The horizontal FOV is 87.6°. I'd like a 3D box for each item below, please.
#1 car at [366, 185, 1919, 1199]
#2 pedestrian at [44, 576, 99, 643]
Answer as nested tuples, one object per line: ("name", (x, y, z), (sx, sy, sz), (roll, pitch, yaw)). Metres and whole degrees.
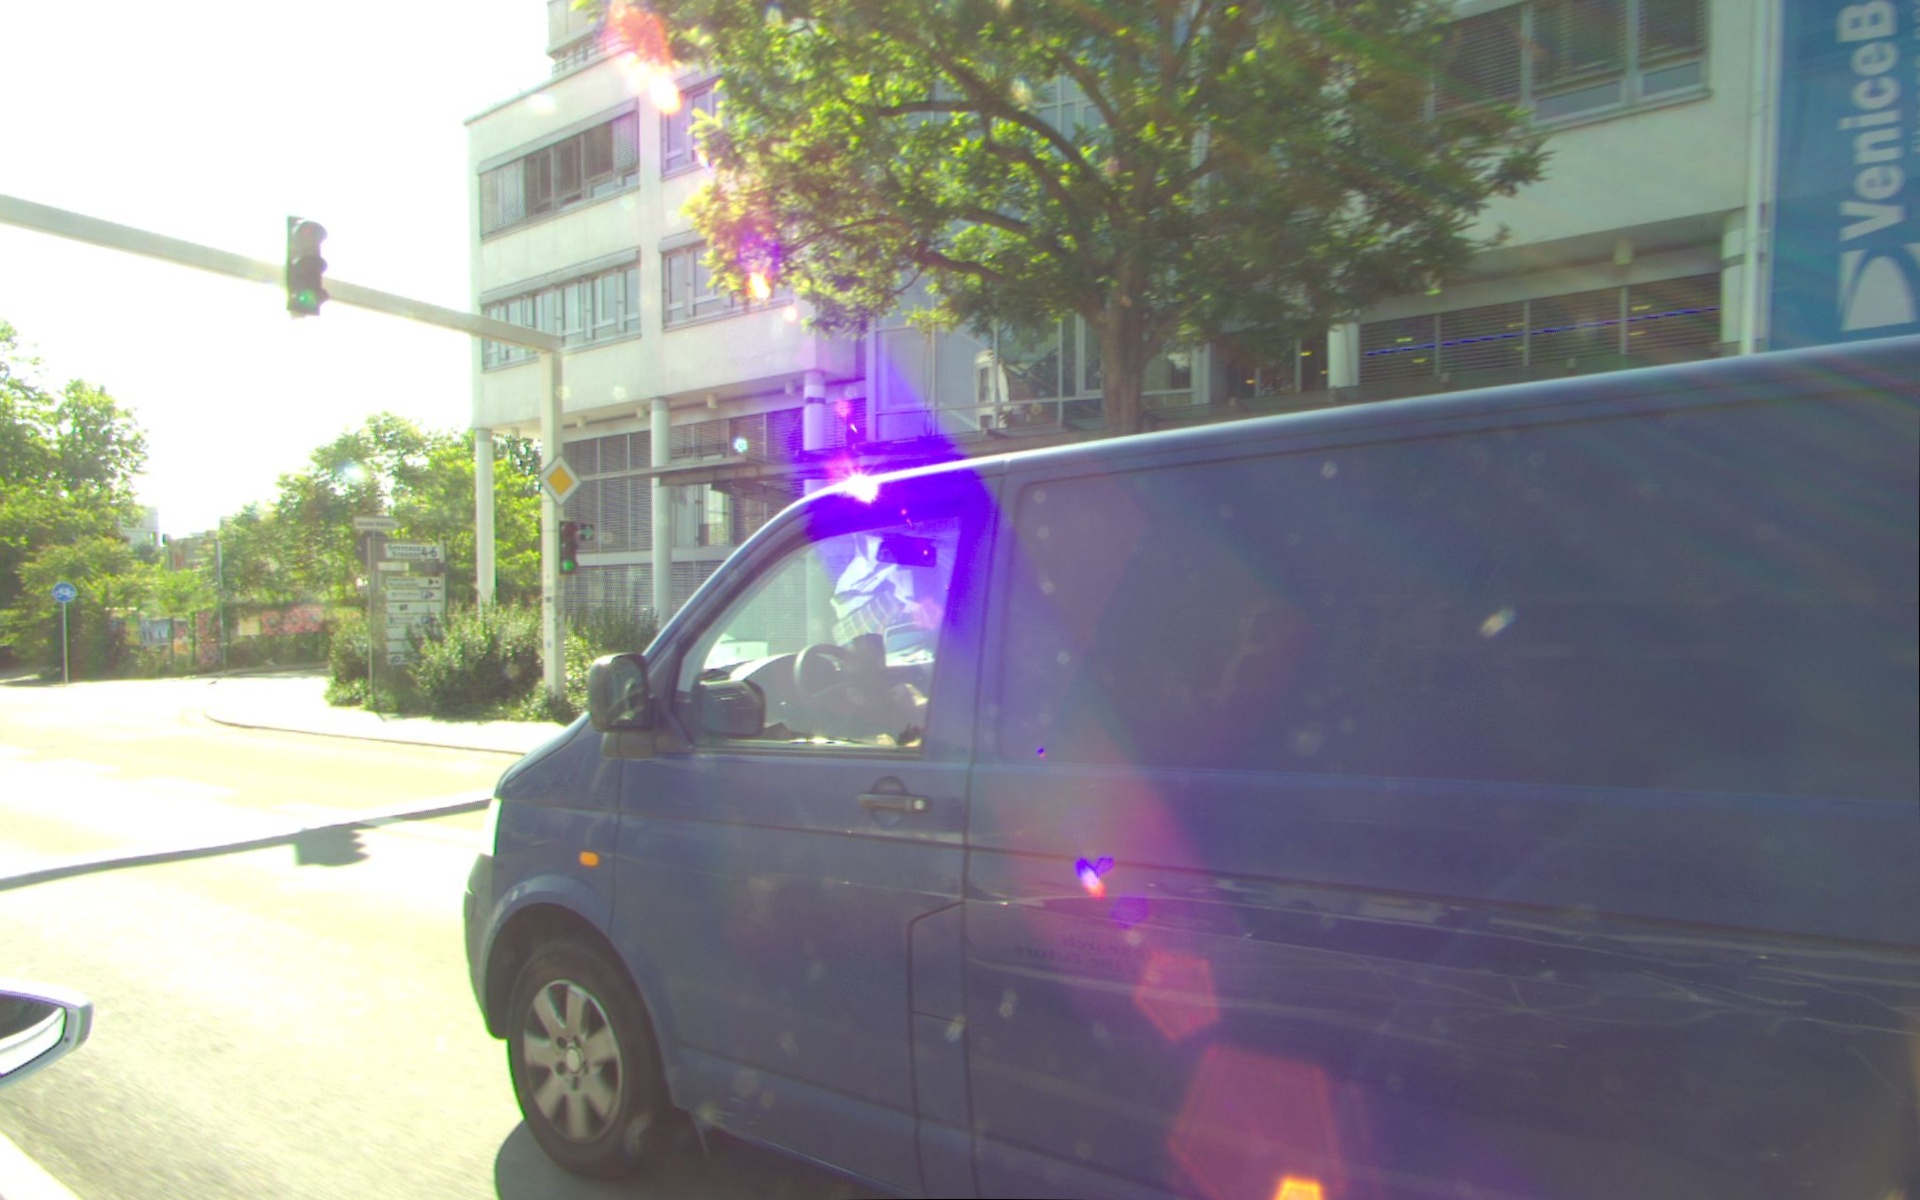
("car", (0.630, 0.534, 2.754), (4.824, 1.973, 1.989), (-2, -1, 34))
("pedestrian", (-27.810, 0.313, 31.343), (1.024, 2.040, 1.024), (-1, 0, 33))
